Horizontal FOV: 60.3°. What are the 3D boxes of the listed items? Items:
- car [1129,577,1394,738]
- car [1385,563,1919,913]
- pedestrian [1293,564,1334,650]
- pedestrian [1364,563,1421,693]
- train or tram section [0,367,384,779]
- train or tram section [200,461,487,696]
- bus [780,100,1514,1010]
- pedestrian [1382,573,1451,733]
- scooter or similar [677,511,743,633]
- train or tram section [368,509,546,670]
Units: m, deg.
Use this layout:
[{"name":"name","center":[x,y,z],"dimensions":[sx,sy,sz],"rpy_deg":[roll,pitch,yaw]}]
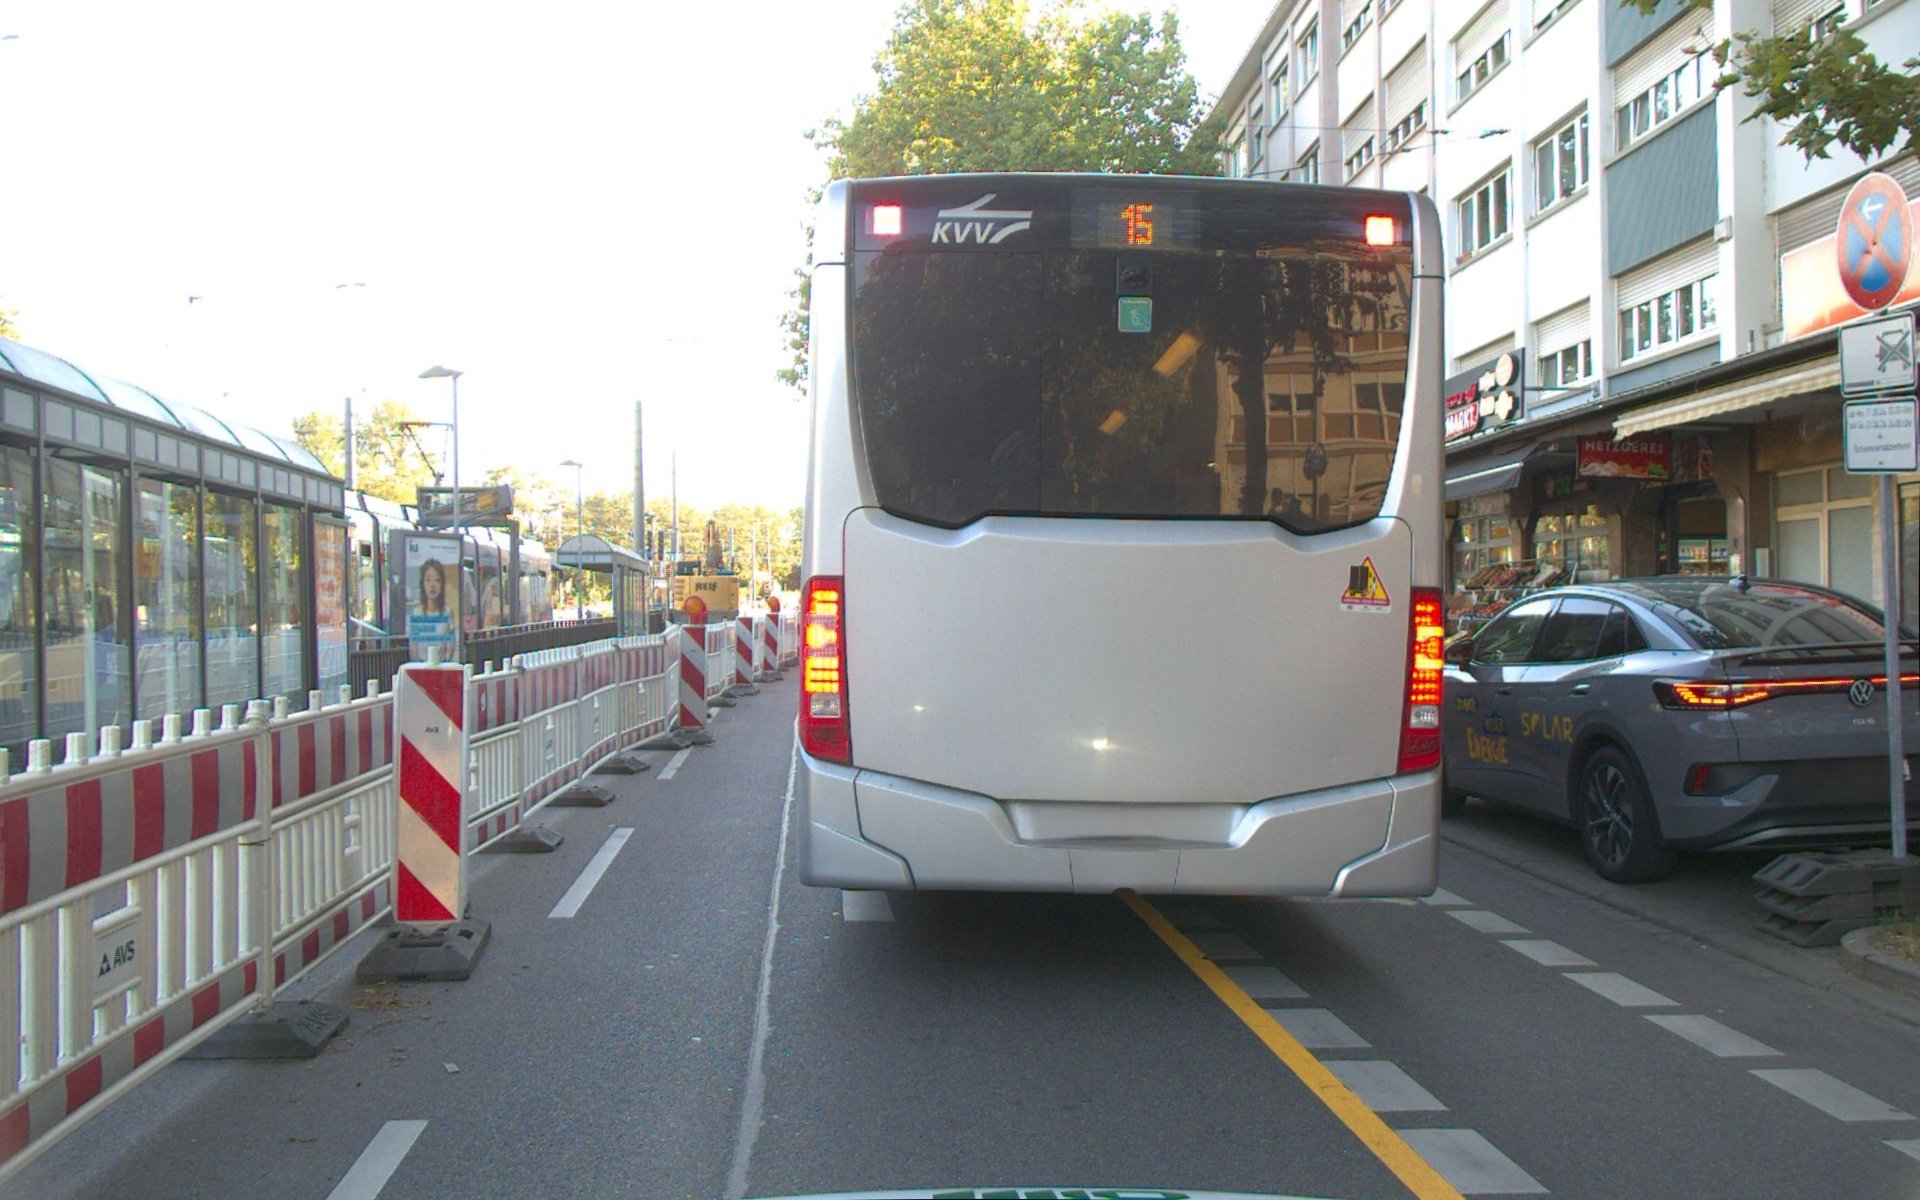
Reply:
[{"name":"car","center":[3.431,0.588,19.729],"dimensions":[1.955,1.609,4.363],"rpy_deg":[-3,1,-5]},{"name":"car","center":[4.360,0.638,10.207],"dimensions":[1.955,1.609,4.363],"rpy_deg":[-3,1,-5]},{"name":"pedestrian","center":[7.751,0.151,36.276],"dimensions":[0.672,1.869,0.785],"rpy_deg":[-1,0,-4]},{"name":"pedestrian","center":[6.928,0.445,26.500],"dimensions":[0.672,2.049,0.786],"rpy_deg":[-1,0,-1]},{"name":"train or tram section","center":[-9.856,-0.242,20.186],"dimensions":[2.635,3.595,11.755],"rpy_deg":[1,0,-6]},{"name":"train or tram section","center":[-11.275,-0.313,31.645],"dimensions":[2.636,3.621,11.560],"rpy_deg":[1,0,-8]},{"name":"bus","center":[0.618,-0.145,9.881],"dimensions":[2.558,3.181,7.991],"rpy_deg":[1,0,-1]},{"name":"pedestrian","center":[4.949,0.567,17.935],"dimensions":[0.649,1.696,0.601],"rpy_deg":[-2,-1,15]},{"name":"scooter or similar","center":[-9.728,-1.052,64.643],"dimensions":[2.422,4.549,5.962],"rpy_deg":[0,0,-8]},{"name":"train or tram section","center":[-12.793,-0.218,43.107],"dimensions":[2.636,3.594,11.559],"rpy_deg":[1,0,-8]}]
